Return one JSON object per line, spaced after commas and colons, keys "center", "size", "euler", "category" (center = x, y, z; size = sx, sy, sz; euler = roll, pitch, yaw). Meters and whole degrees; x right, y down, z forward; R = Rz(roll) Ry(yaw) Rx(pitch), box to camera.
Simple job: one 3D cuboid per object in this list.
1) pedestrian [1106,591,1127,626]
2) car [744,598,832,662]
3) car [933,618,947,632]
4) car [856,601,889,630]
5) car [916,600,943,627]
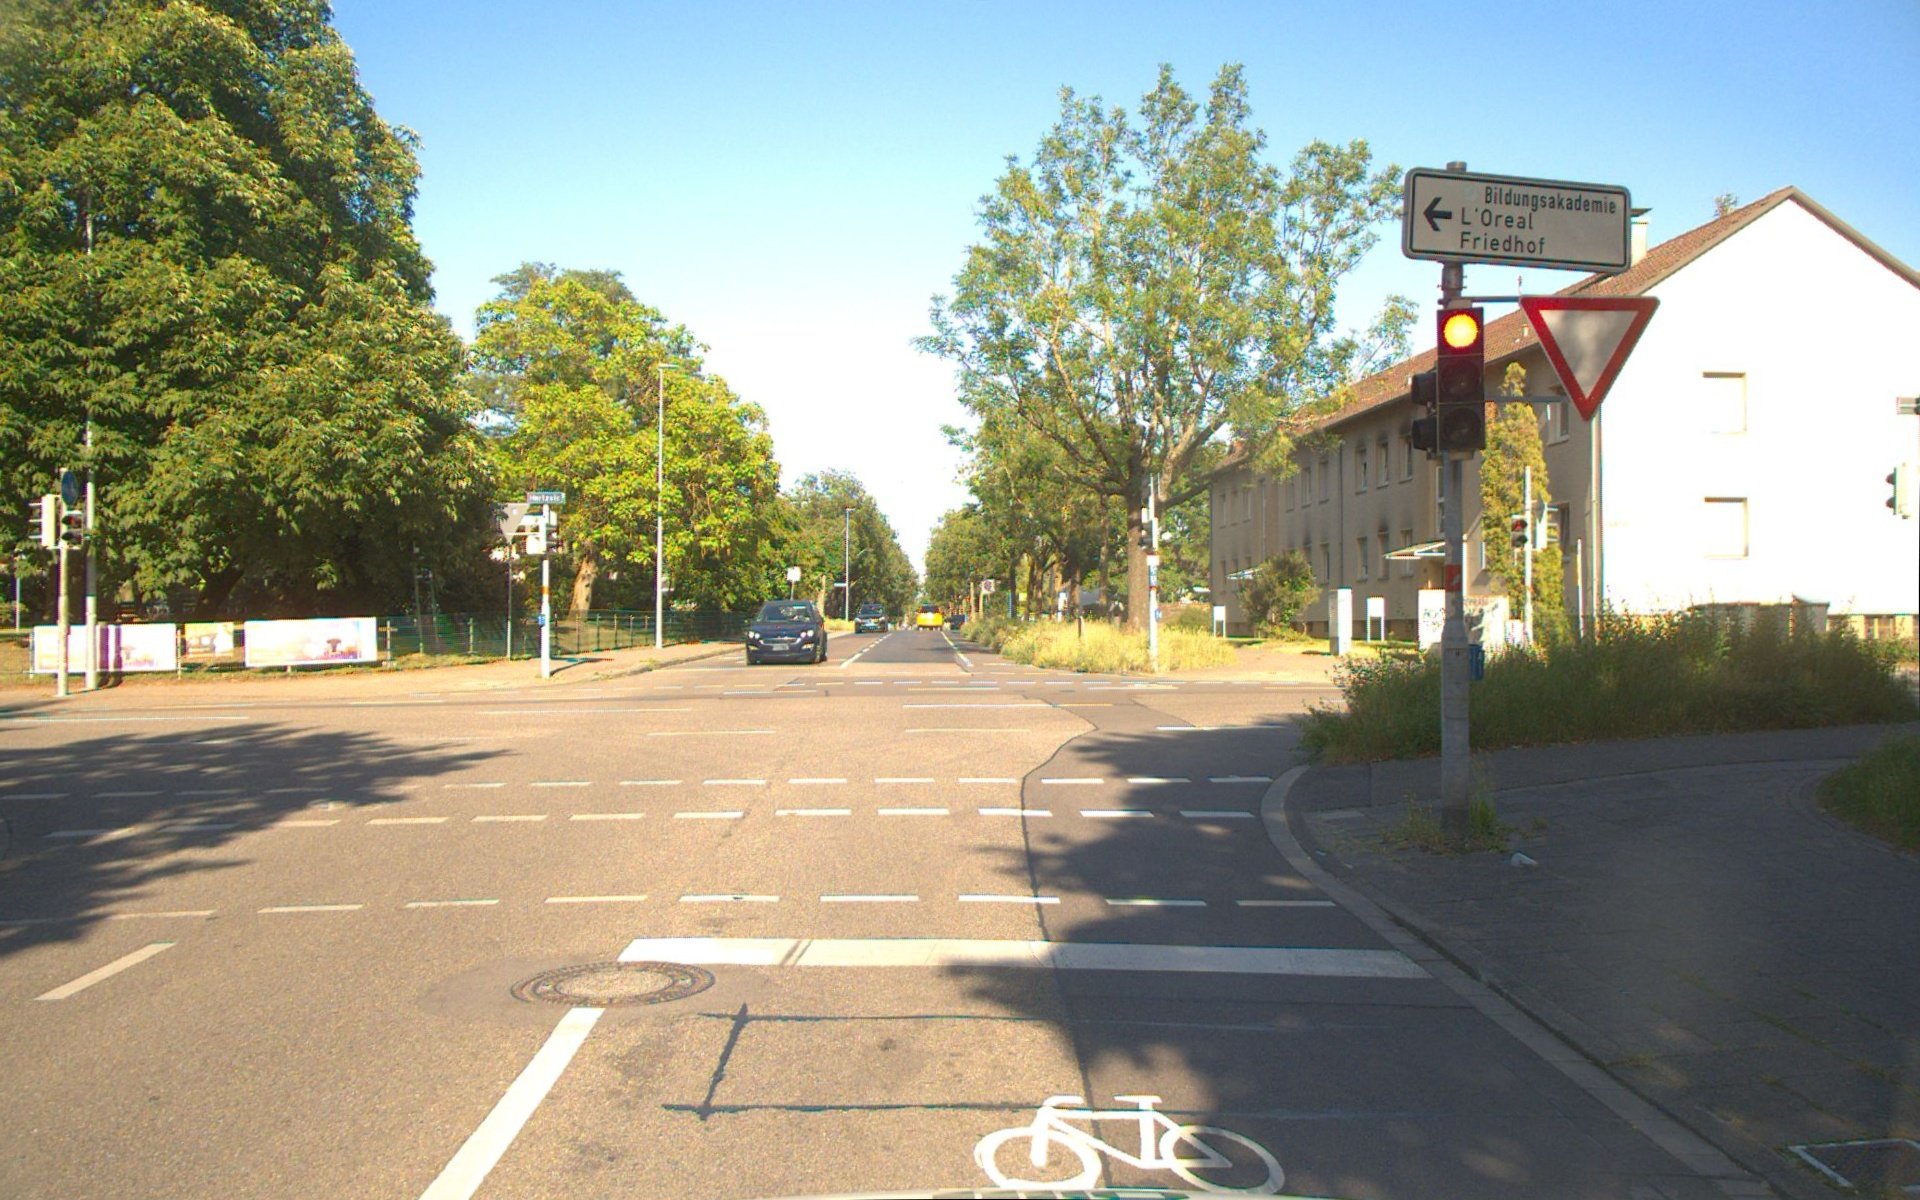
{"center": [7.001, 0.386, 74.067], "size": [0.825, 1.519, 0.924], "euler": [2, 0, -1], "category": "pedestrian"}
{"center": [-3.959, 0.663, 38.546], "size": [1.676, 1.410, 3.471], "euler": [0, 0, 0], "category": "car"}
{"center": [-2.660, 3.343, 219.149], "size": [1.737, 1.785, 3.999], "euler": [1, 0, -1], "category": "car"}
{"center": [-5.060, 0.893, 96.213], "size": [1.722, 1.653, 3.268], "euler": [0, 0, 0], "category": "car"}
{"center": [-1.921, 0.851, 105.300], "size": [1.716, 1.610, 3.999], "euler": [1, 0, -1], "category": "car"}
